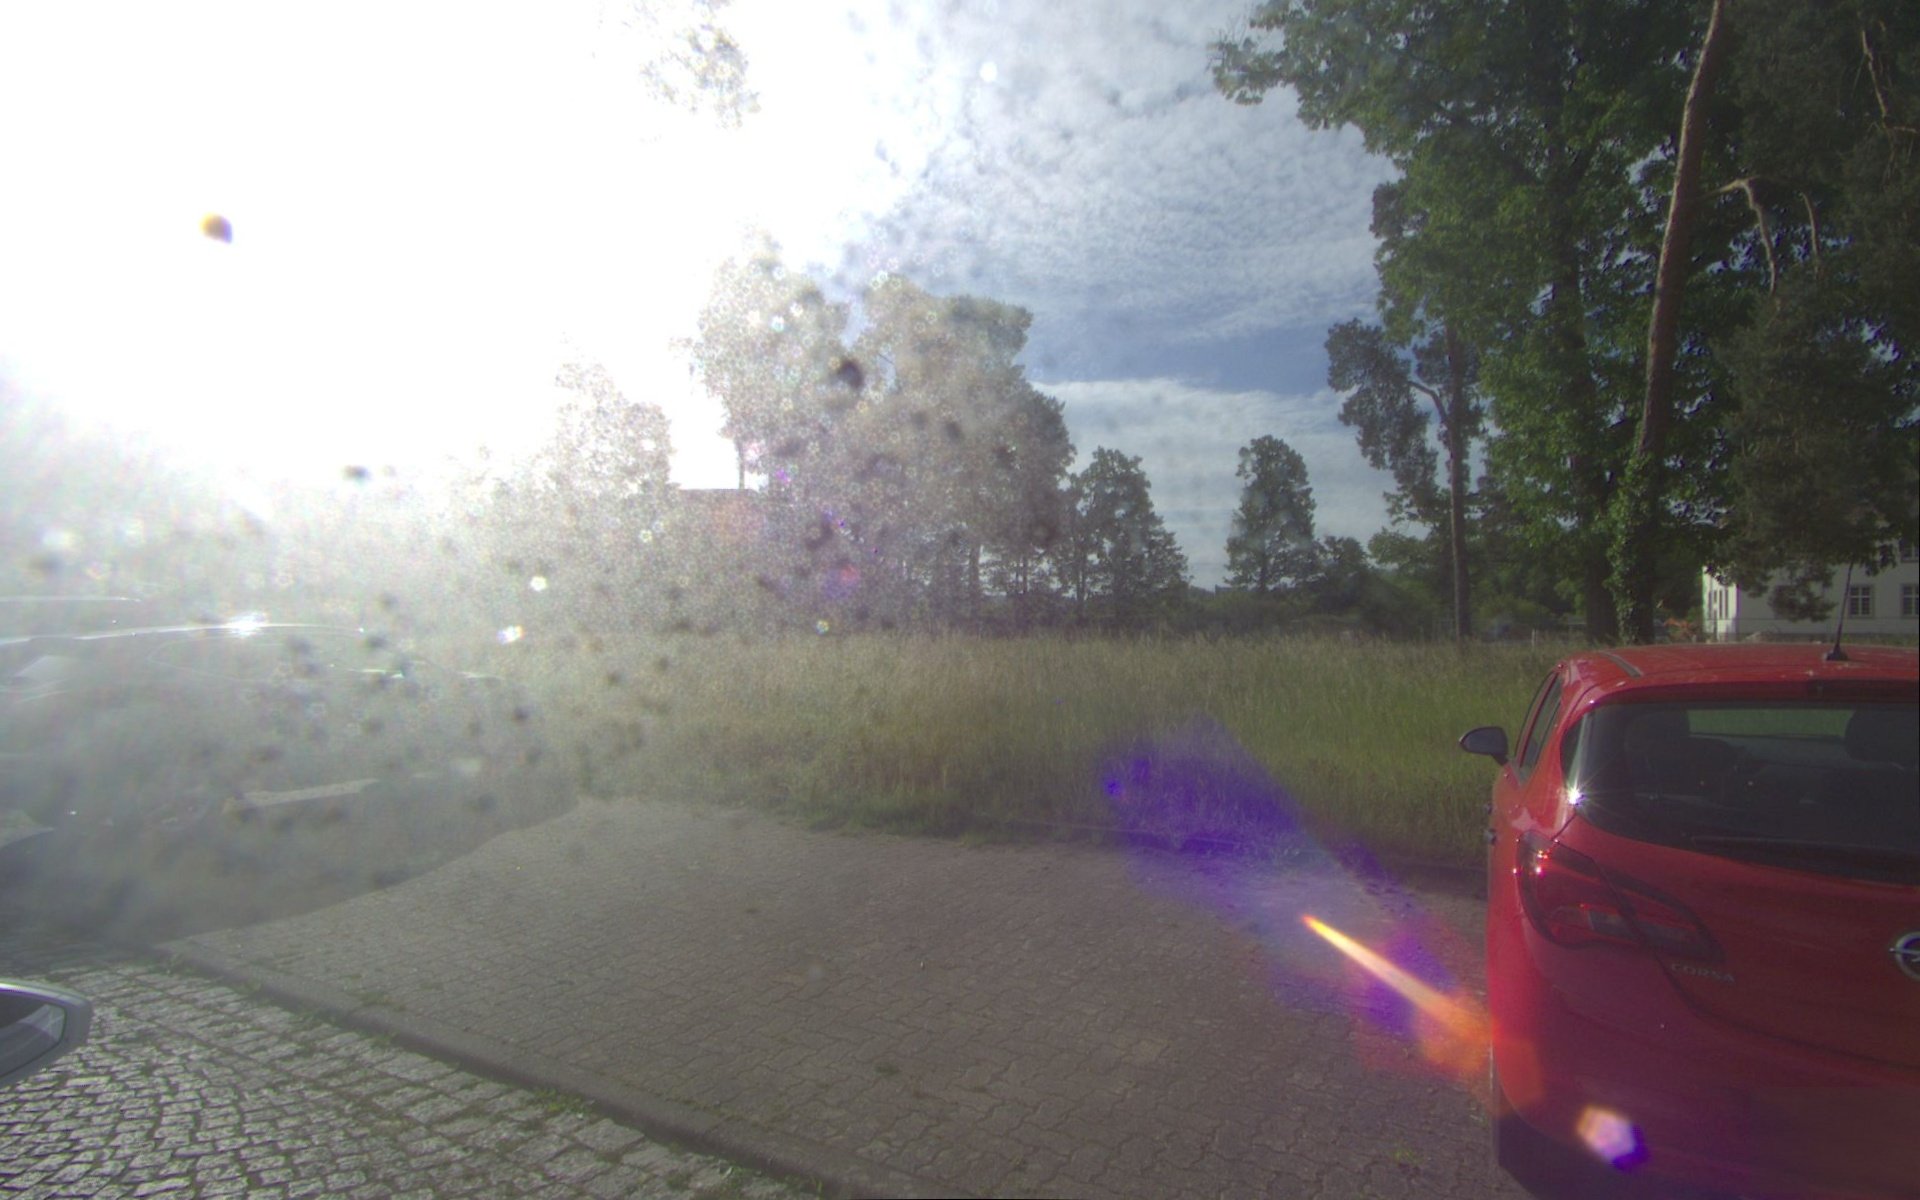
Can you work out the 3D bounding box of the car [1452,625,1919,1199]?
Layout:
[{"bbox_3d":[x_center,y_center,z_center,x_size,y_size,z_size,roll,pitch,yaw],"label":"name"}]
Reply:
[{"bbox_3d":[2.853,0.877,3.729,1.661,1.492,3.873,-1,-1,29],"label":"car"}]

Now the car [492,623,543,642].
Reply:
[{"bbox_3d":[-39.311,2.879,89.010,1.828,1.701,3.930,-1,-2,28],"label":"car"}]

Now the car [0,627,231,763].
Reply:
[{"bbox_3d":[-11.386,1.093,11.799,1.779,1.488,4.190,-1,-1,26],"label":"car"}]

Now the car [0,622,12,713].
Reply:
[{"bbox_3d":[-17.961,1.149,15.909,1.781,1.550,3.870,-1,-1,30],"label":"car"}]

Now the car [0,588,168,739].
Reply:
[{"bbox_3d":[-13.553,0.848,12.996,1.962,1.954,4.727,-1,0,29],"label":"car"}]

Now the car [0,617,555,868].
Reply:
[{"bbox_3d":[-5.916,0.971,8.756,1.849,1.609,4.187,-1,-1,29],"label":"car"}]

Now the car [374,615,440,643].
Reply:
[{"bbox_3d":[-53.273,2.797,96.554,2.231,2.568,5.152,-1,-2,31],"label":"car"}]
